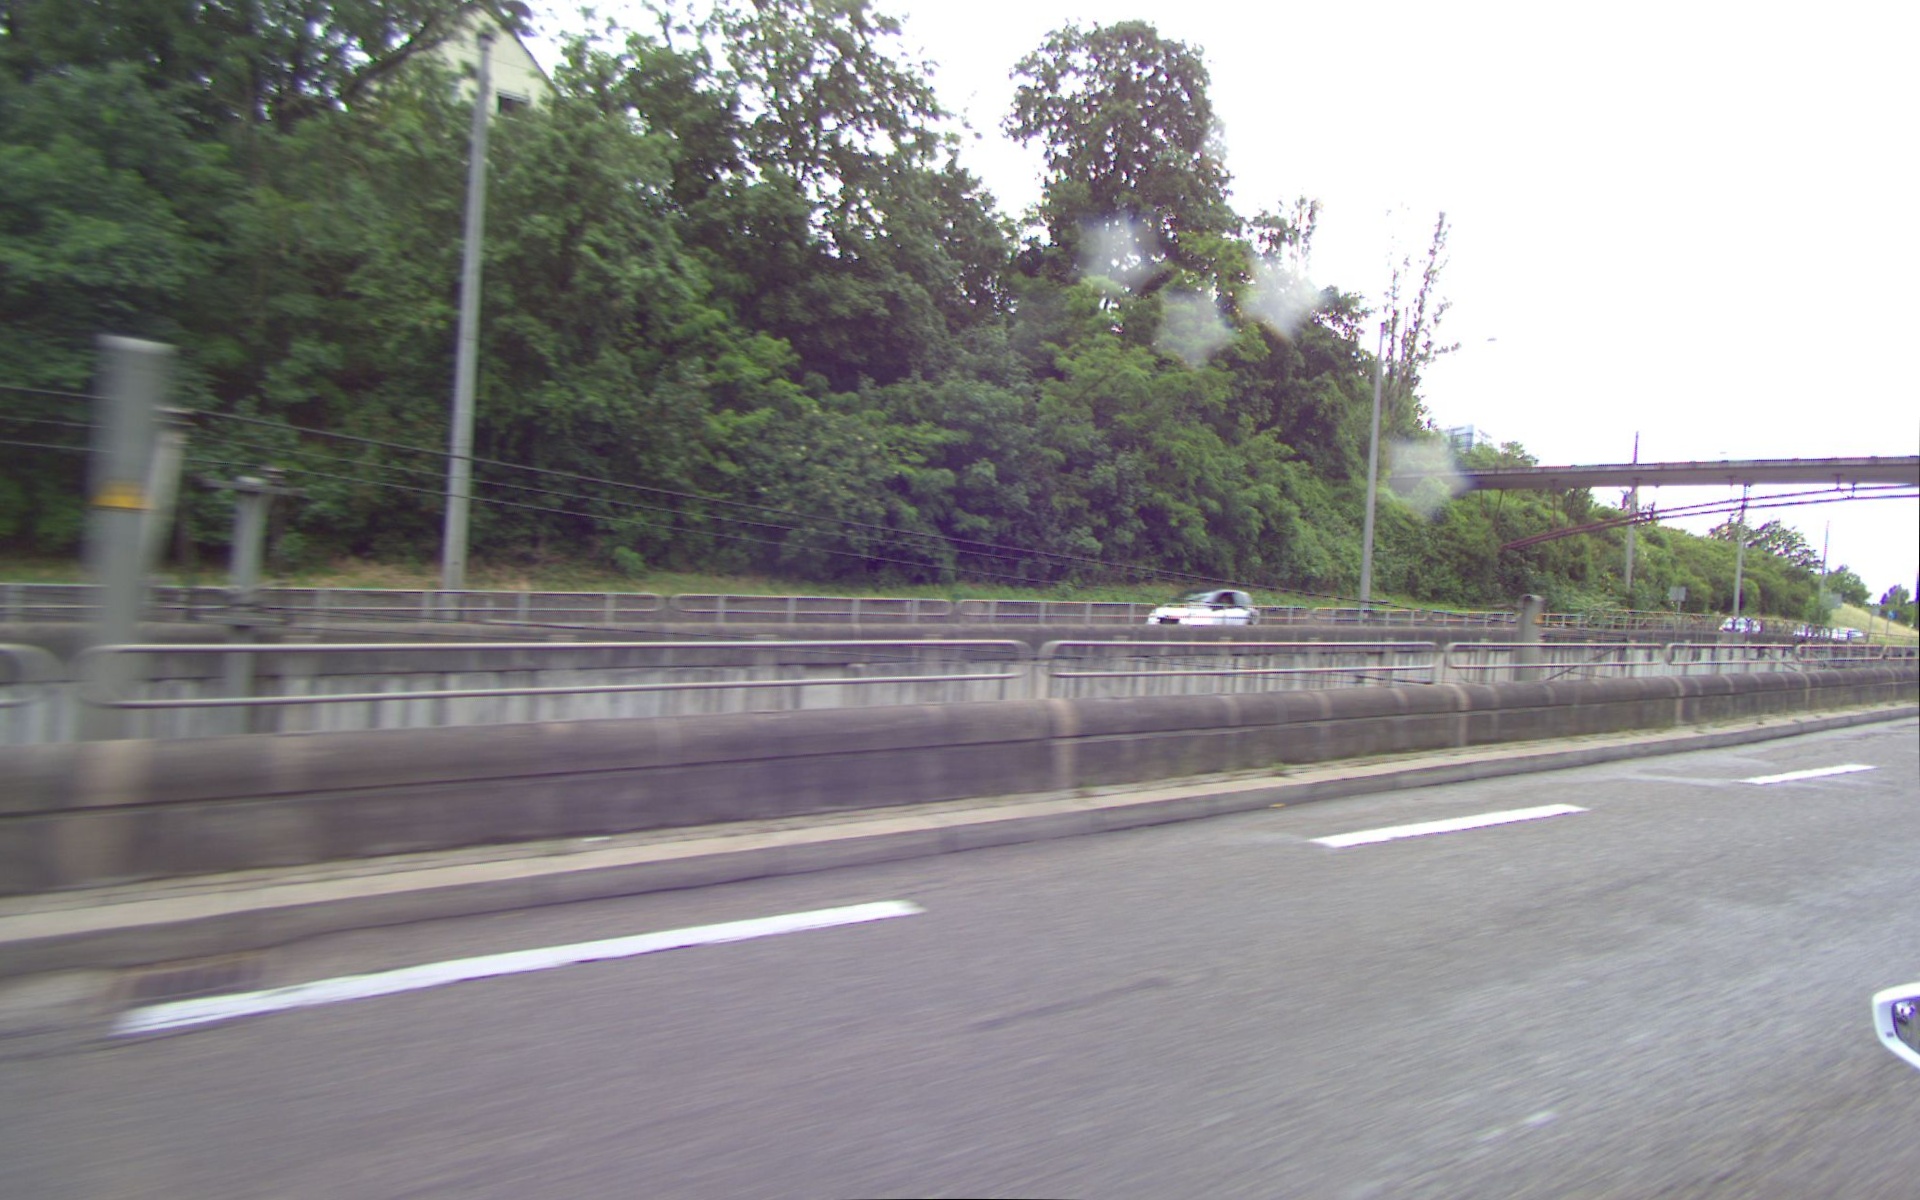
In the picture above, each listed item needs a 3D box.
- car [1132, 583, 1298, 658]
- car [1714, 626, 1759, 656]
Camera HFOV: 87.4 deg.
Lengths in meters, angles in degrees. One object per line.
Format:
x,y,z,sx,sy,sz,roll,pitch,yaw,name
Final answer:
6.576,0.535,25.728,4.101,1.773,1.947,2,-1,-36,car
53.883,2.835,69.718,4.525,1.941,1.656,3,-1,-42,car
